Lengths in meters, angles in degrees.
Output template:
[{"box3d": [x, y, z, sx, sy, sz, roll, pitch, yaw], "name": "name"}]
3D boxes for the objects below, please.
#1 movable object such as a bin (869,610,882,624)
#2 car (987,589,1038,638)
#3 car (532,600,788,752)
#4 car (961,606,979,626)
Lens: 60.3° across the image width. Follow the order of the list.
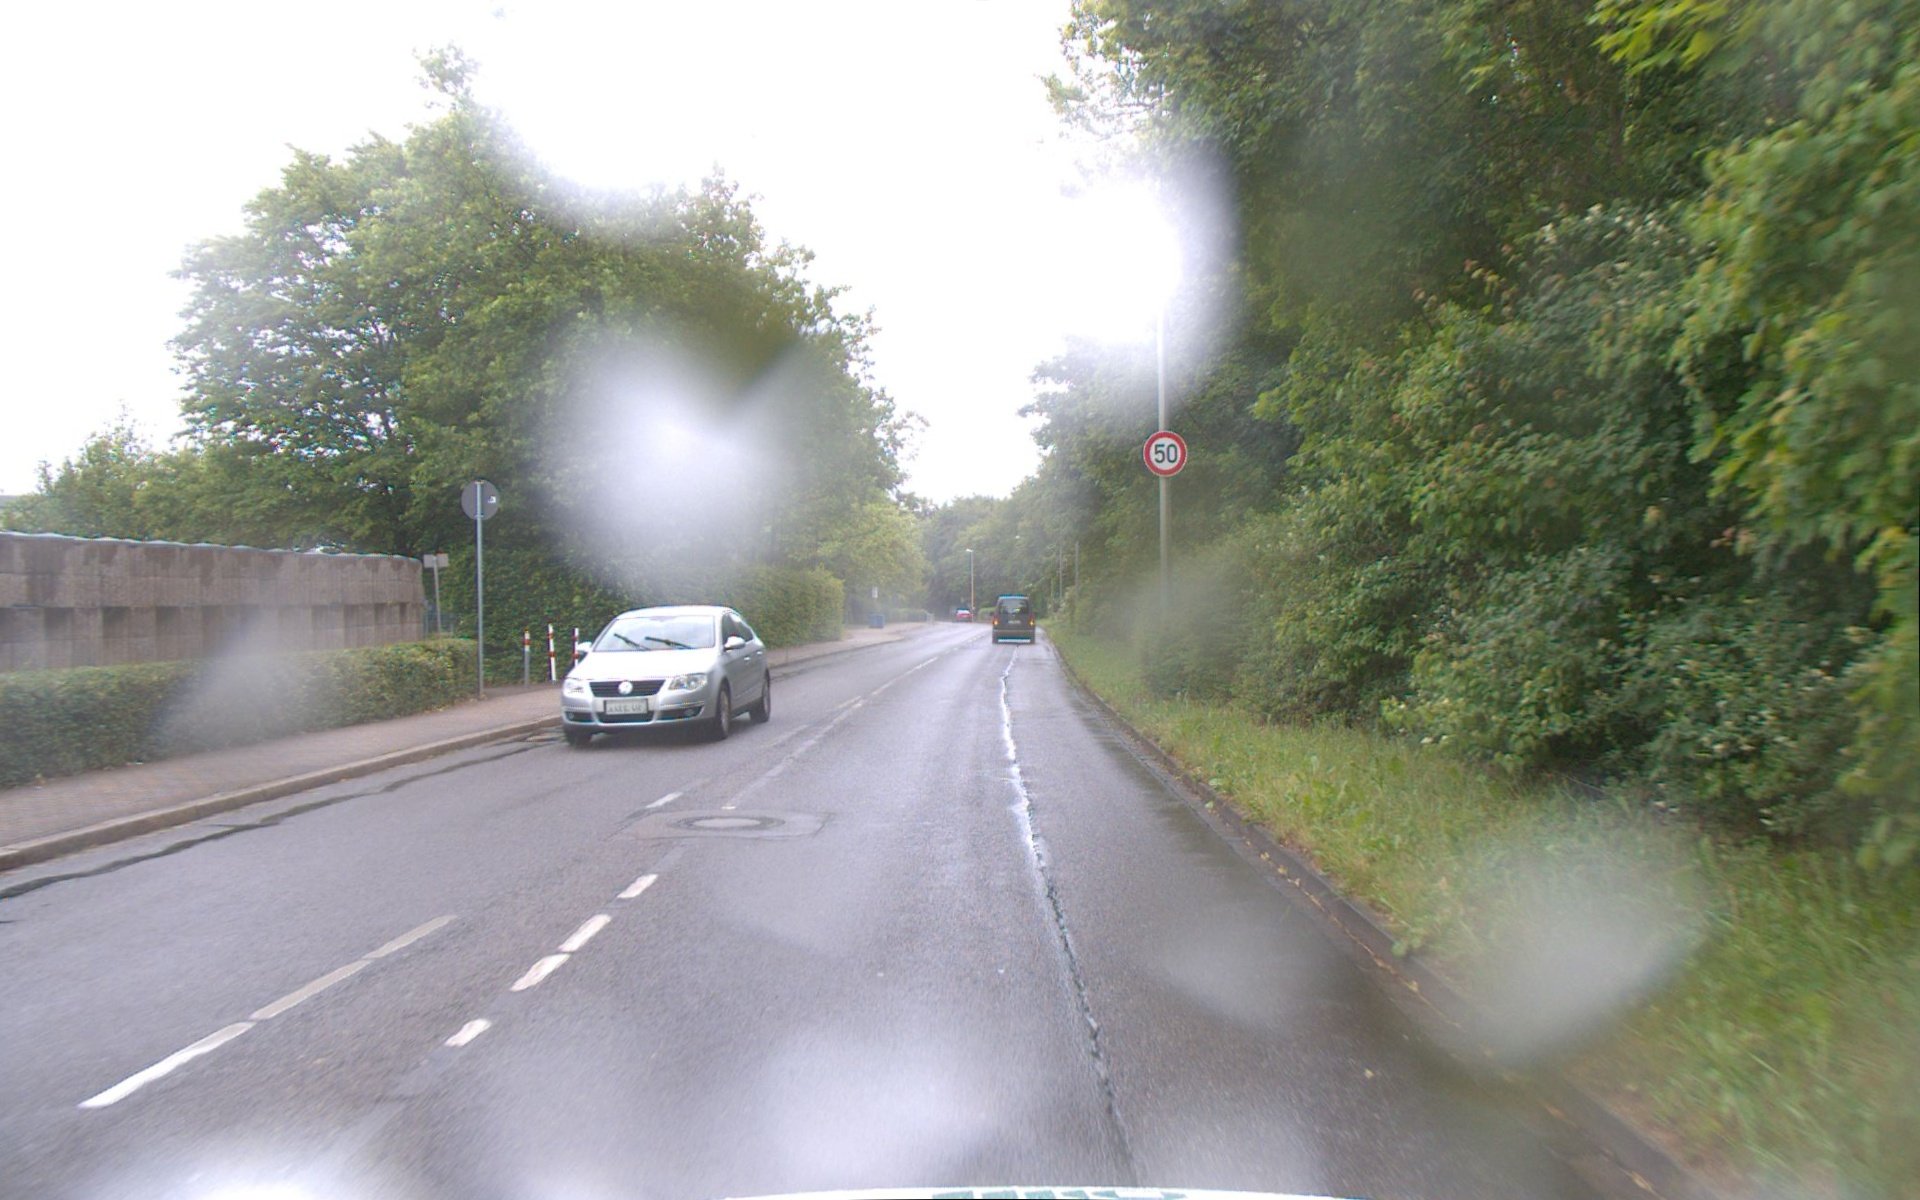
[{"box3d": [-6.550, 1.313, 128.012, 0.659, 1.044, 0.827, -2, 0, -29], "name": "movable object such as a bin"}, {"box3d": [2.147, 0.514, 66.994, 1.952, 1.825, 4.001, 2, 1, 2], "name": "car"}, {"box3d": [-3.284, 0.772, 19.048, 1.952, 1.445, 4.487, -2, 1, 2], "name": "car"}, {"box3d": [1.181, 1.802, 186.826, 1.953, 2.049, 4.000, 2, 0, 1], "name": "car"}]
